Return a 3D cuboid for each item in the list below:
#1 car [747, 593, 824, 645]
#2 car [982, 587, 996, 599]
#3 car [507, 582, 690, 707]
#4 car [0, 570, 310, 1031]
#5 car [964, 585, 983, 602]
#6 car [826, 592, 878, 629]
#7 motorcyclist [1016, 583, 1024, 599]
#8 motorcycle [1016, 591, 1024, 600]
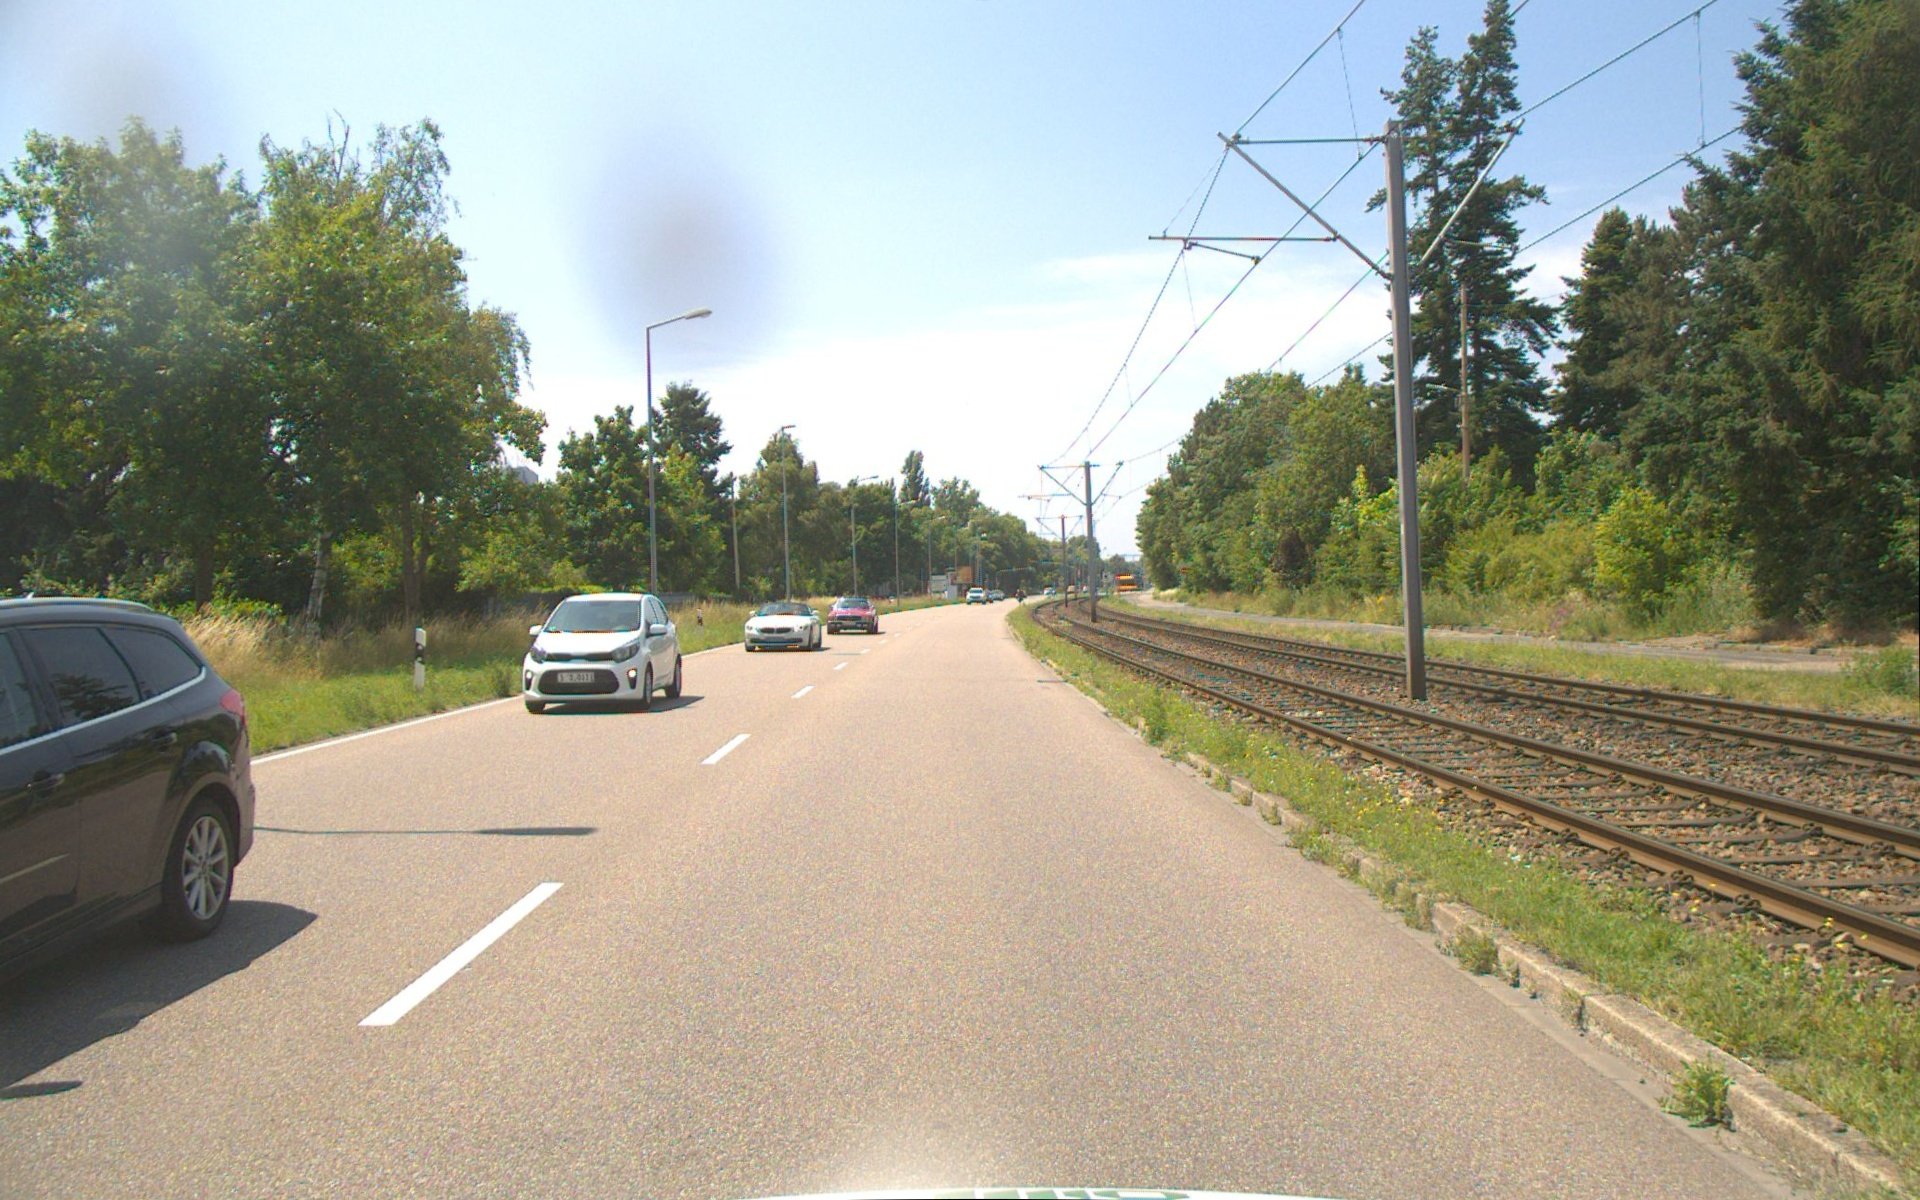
[{"bbox_3d":[-4.591,0.471,44.033,1.648,1.271,3.909,-1,0,-1],"label":"car"},{"bbox_3d":[3.933,-0.975,221.189,1.780,1.519,4.365,-1,0,2],"label":"car"},{"bbox_3d":[-4.836,0.548,22.617,1.711,1.529,3.706,-1,0,-1],"label":"car"},{"bbox_3d":[-4.016,0.675,5.907,1.666,1.517,4.439,-1,0,-1],"label":"car"},{"bbox_3d":[1.473,-0.720,178.608,1.895,1.827,4.713,-1,0,2],"label":"car"},{"bbox_3d":[-4.045,0.379,62.575,1.713,1.324,4.253,-1,0,-1],"label":"car"},{"bbox_3d":[7.254,-1.068,199.476,0.873,1.938,1.016,-1,0,3],"label":"motorcyclist"},{"bbox_3d":[7.264,-0.534,199.457,0.950,1.137,2.734,-1,0,3],"label":"motorcycle"}]
